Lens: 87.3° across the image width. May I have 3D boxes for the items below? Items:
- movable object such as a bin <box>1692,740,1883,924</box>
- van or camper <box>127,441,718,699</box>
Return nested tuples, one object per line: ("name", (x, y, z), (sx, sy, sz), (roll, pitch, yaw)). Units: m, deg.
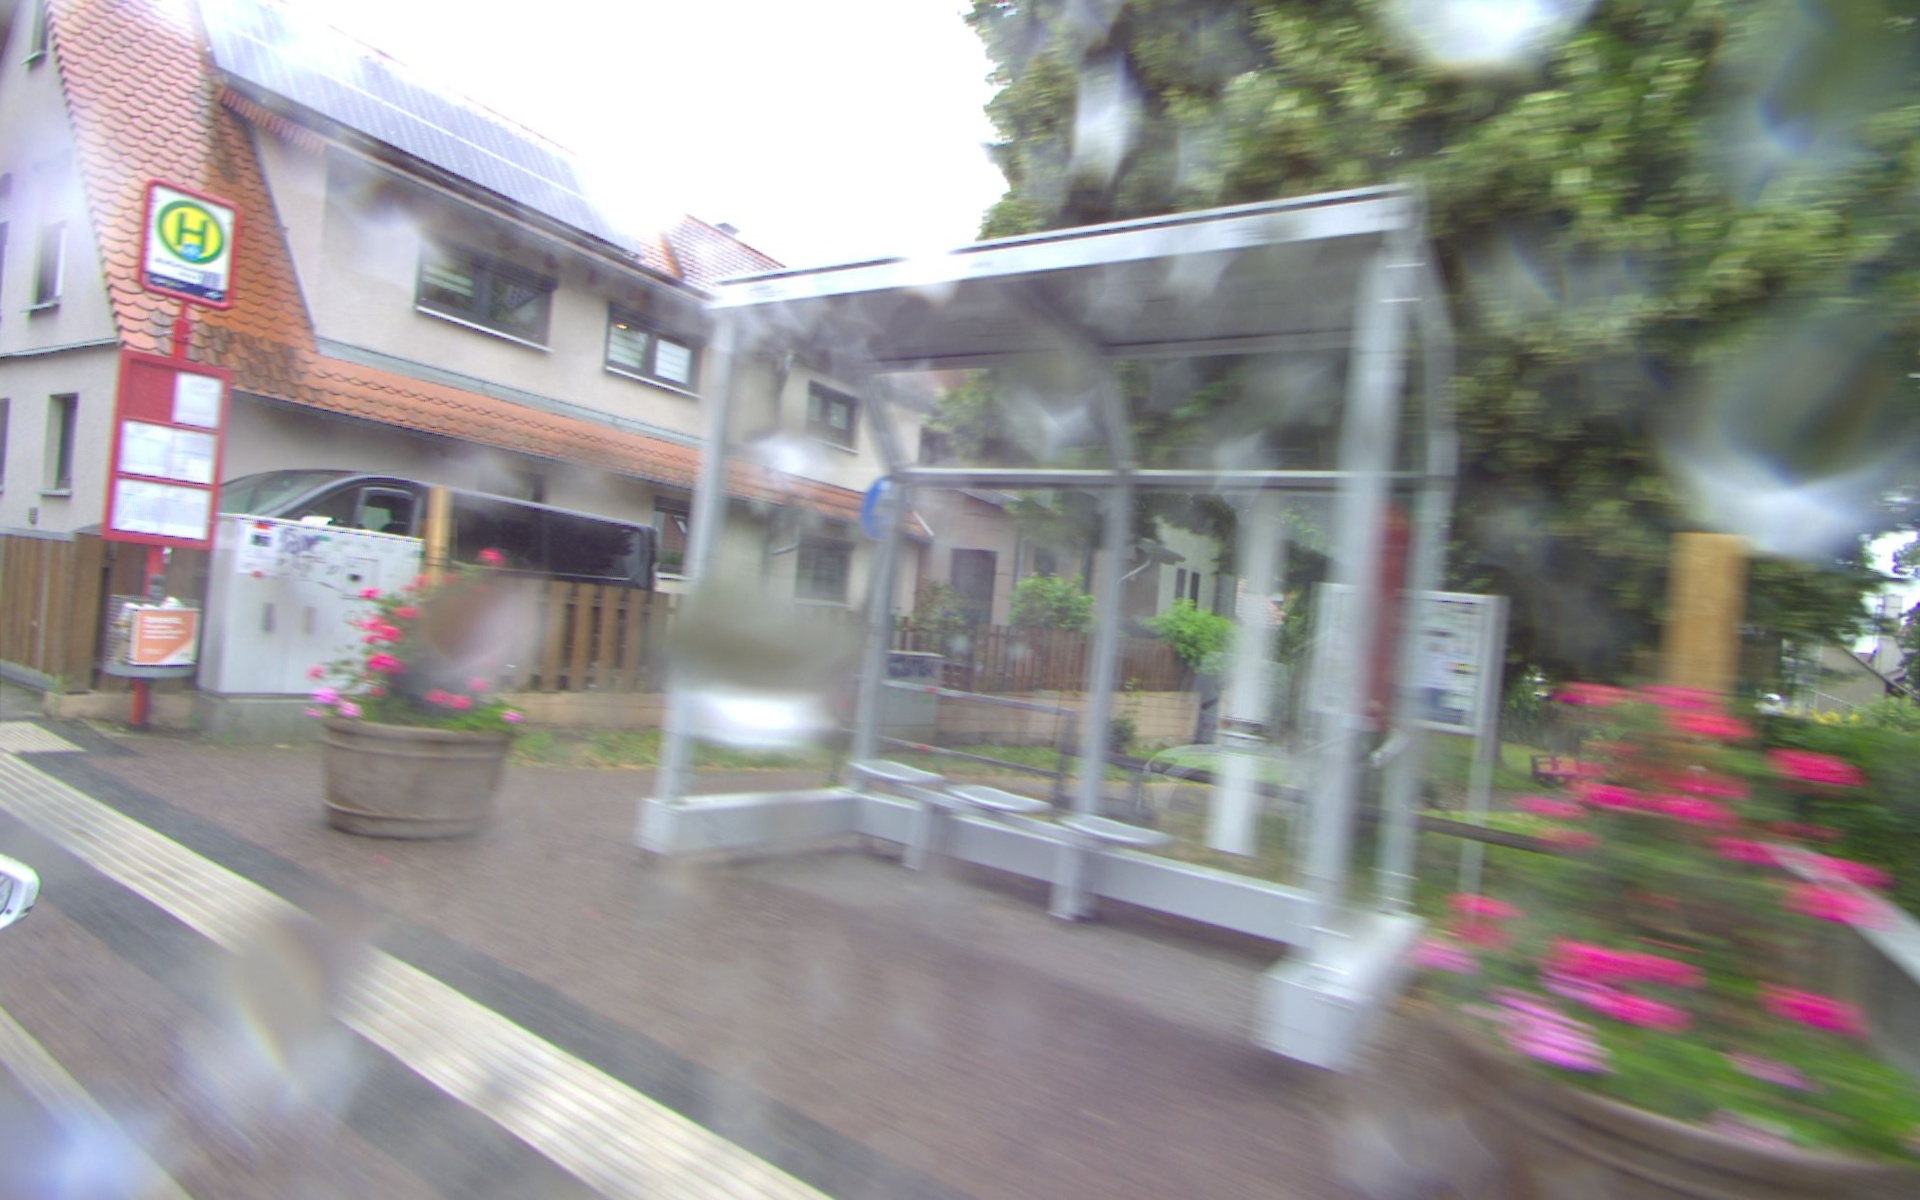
("movable object such as a bin", (7.752, 2.118, 9.522), (1.137, 1.374, 1.243), (7, -1, 34))
("van or camper", (-5.076, -0.088, 10.474), (1.844, 1.945, 5.081), (7, -2, 29))
